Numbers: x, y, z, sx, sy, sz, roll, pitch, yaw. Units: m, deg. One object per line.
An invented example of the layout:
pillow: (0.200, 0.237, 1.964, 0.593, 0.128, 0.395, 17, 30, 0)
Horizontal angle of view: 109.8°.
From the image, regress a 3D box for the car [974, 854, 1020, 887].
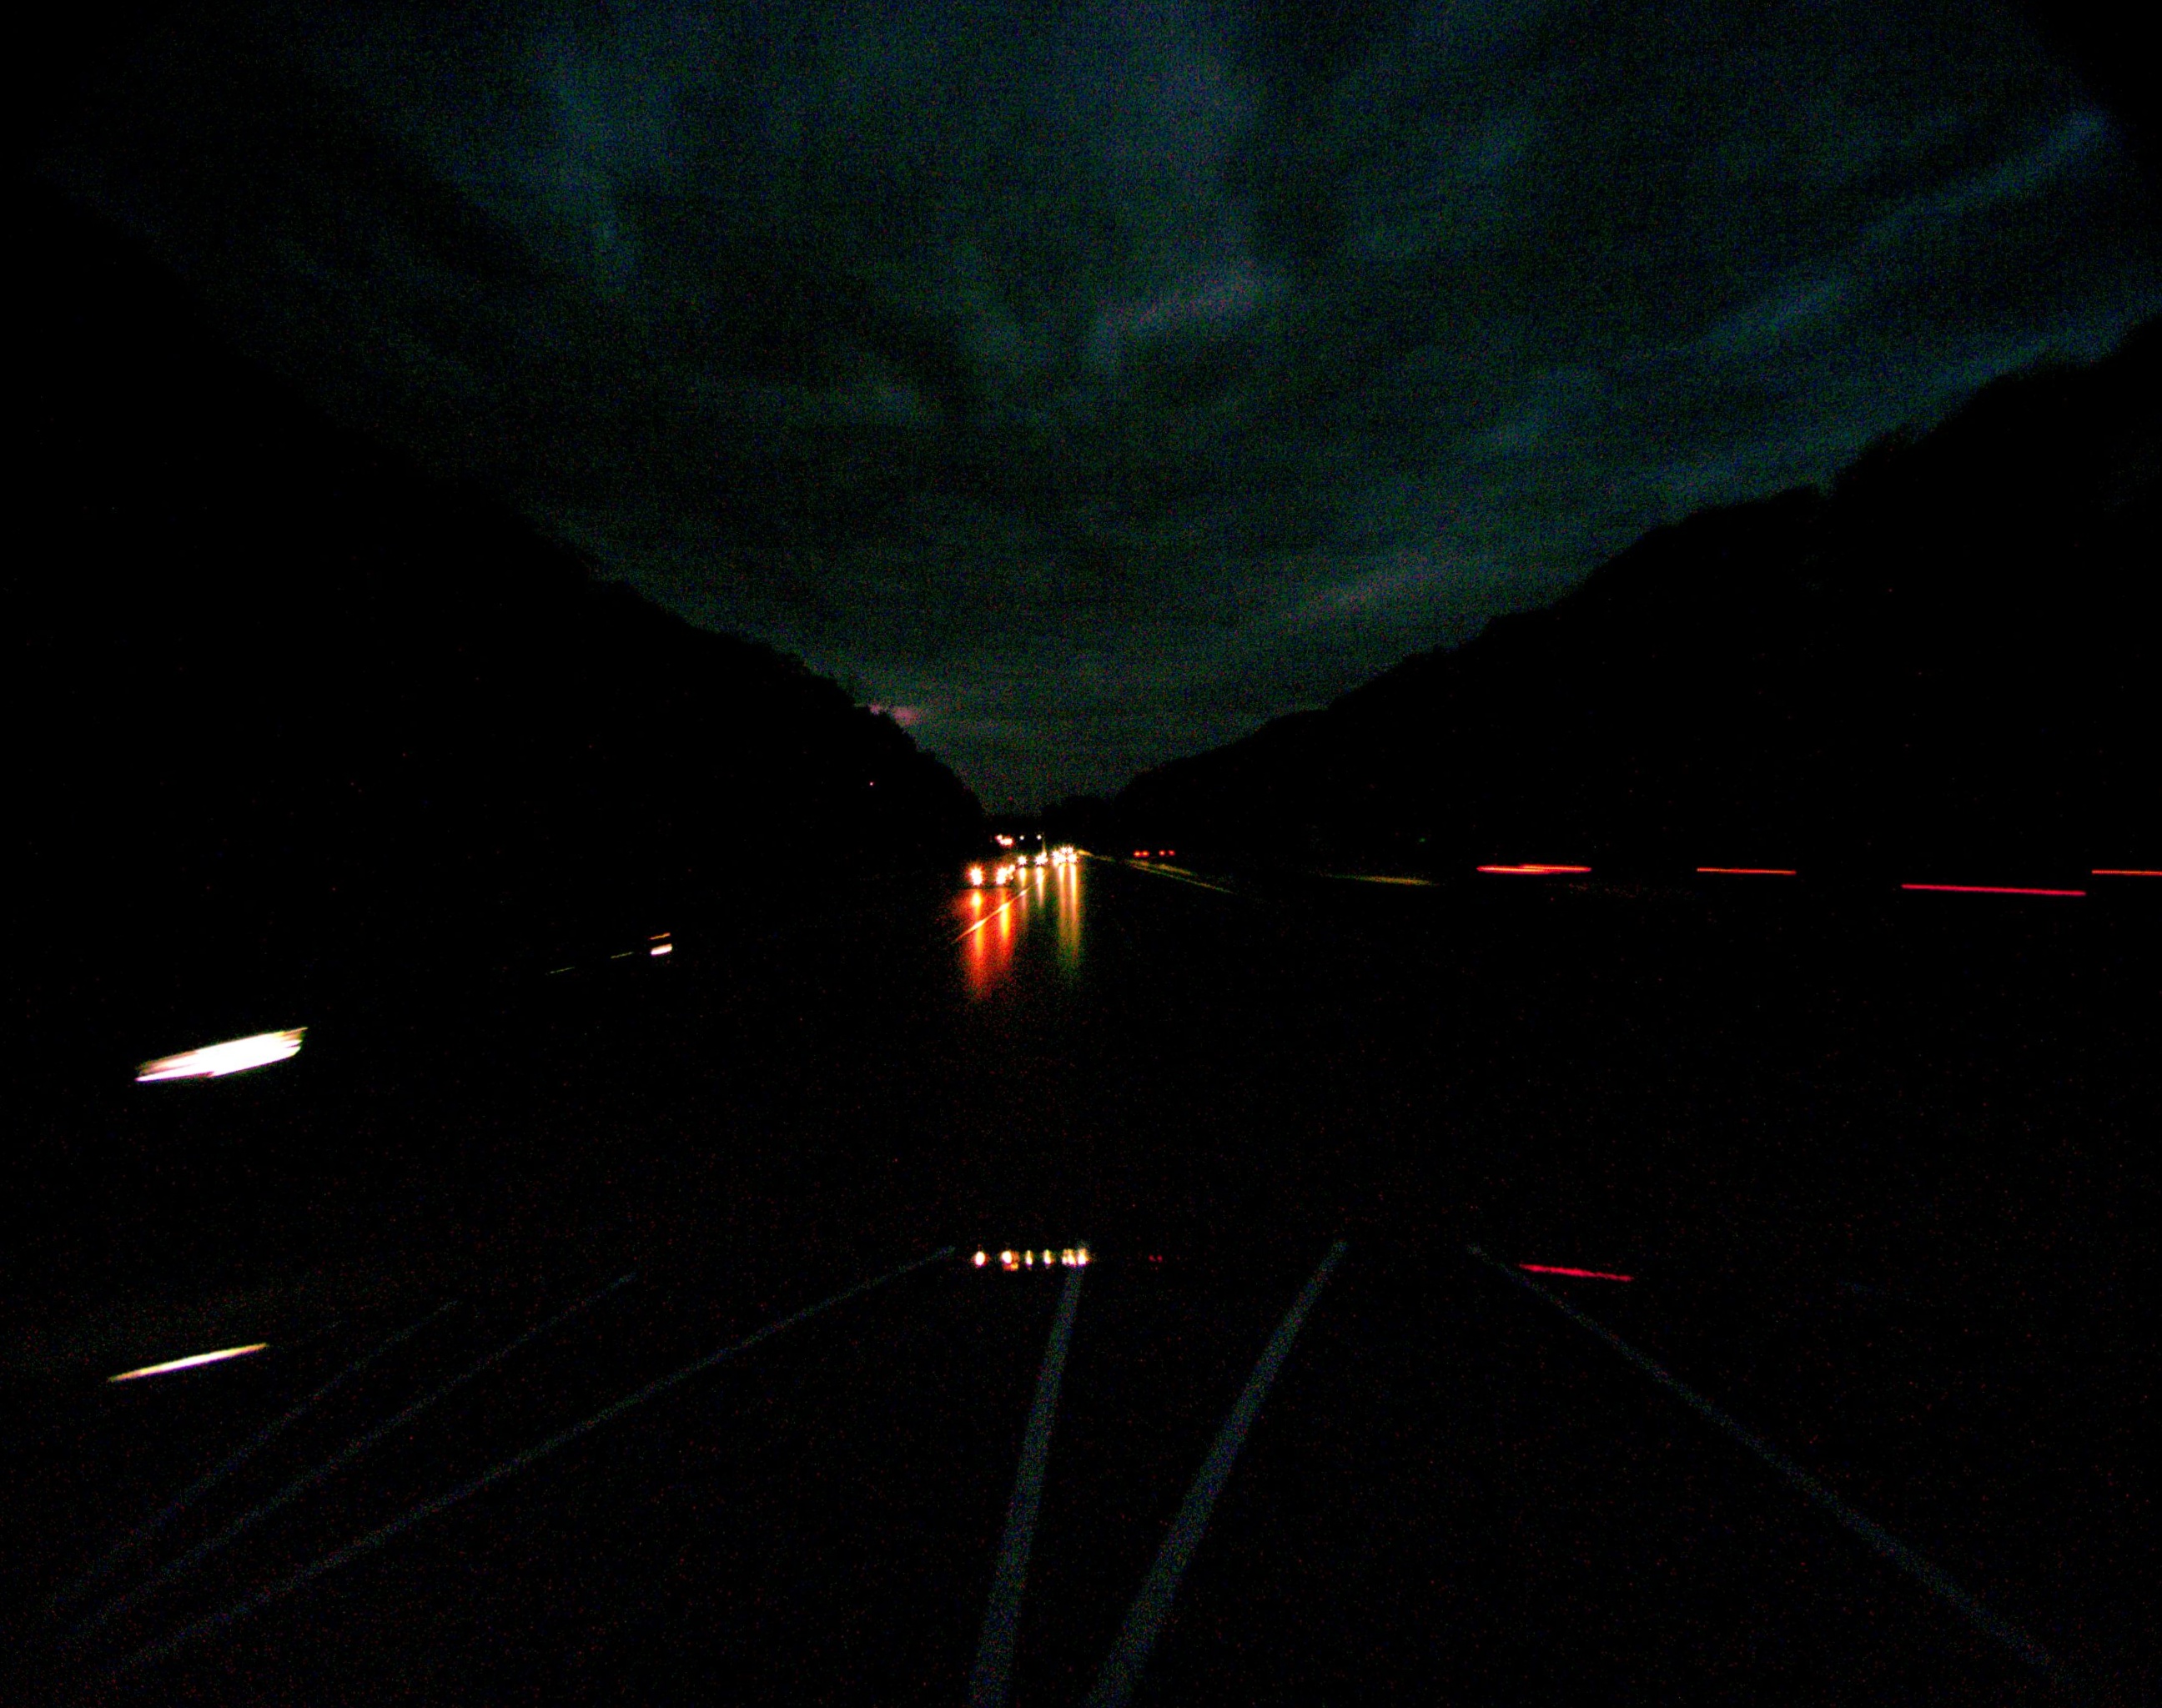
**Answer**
car: (-4.275, 0.796, 39.349, 1.696, 1.481, 4.949, -3, 0, 0)

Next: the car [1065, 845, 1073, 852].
car: (-3.064, -1.434, 194.450, 1.697, 1.481, 4.944, -1, 1, -7)

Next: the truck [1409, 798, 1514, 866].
truck: (25.059, -1.442, 50.572, 3.199, 4.081, 7.688, -2, 1, 1)

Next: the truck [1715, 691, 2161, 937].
truck: (17.566, -0.698, 15.871, 2.653, 3.949, 7.120, -1, 1, 0)

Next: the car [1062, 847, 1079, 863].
car: (-1.275, 0.077, 92.452, 1.870, 1.701, 4.583, -3, 1, 1)

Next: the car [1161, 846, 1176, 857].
car: (12.922, -0.337, 112.892, 1.690, 1.506, 4.413, -2, 1, 0)

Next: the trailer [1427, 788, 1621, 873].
trailer: (24.958, -1.294, 44.349, 3.199, 4.081, 14.180, -2, 1, 1)

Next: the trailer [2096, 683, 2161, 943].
trailer: (17.541, -0.596, 7.080, 2.653, 3.908, 10.184, -1, 1, 1)

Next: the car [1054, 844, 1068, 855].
car: (-3.590, -0.832, 135.875, 1.924, 1.706, 4.938, -3, 2, -7)

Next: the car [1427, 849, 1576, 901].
car: (13.402, 0.603, 24.705, 1.915, 1.443, 5.353, -1, 1, 1)

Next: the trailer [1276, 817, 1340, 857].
trailer: (25.086, -1.890, 84.959, 3.199, 4.081, 13.737, -2, 1, 1)

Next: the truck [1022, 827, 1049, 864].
truck: (-5.049, -1.046, 85.439, 2.498, 3.946, 5.588, -2, 2, 0)

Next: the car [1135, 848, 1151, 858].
car: (9.206, -0.148, 112.918, 1.855, 1.373, 4.643, -2, 0, -2)

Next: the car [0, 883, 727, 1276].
car: (-4.701, 1.108, 5.638, 1.870, 1.427, 4.583, -3, 1, 1)

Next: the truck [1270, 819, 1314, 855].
truck: (25.156, -2.038, 91.082, 3.199, 4.081, 7.688, -2, 1, 1)

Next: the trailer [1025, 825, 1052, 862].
trailer: (-5.050, -1.397, 92.728, 2.489, 4.050, 13.499, -2, 2, 0)
